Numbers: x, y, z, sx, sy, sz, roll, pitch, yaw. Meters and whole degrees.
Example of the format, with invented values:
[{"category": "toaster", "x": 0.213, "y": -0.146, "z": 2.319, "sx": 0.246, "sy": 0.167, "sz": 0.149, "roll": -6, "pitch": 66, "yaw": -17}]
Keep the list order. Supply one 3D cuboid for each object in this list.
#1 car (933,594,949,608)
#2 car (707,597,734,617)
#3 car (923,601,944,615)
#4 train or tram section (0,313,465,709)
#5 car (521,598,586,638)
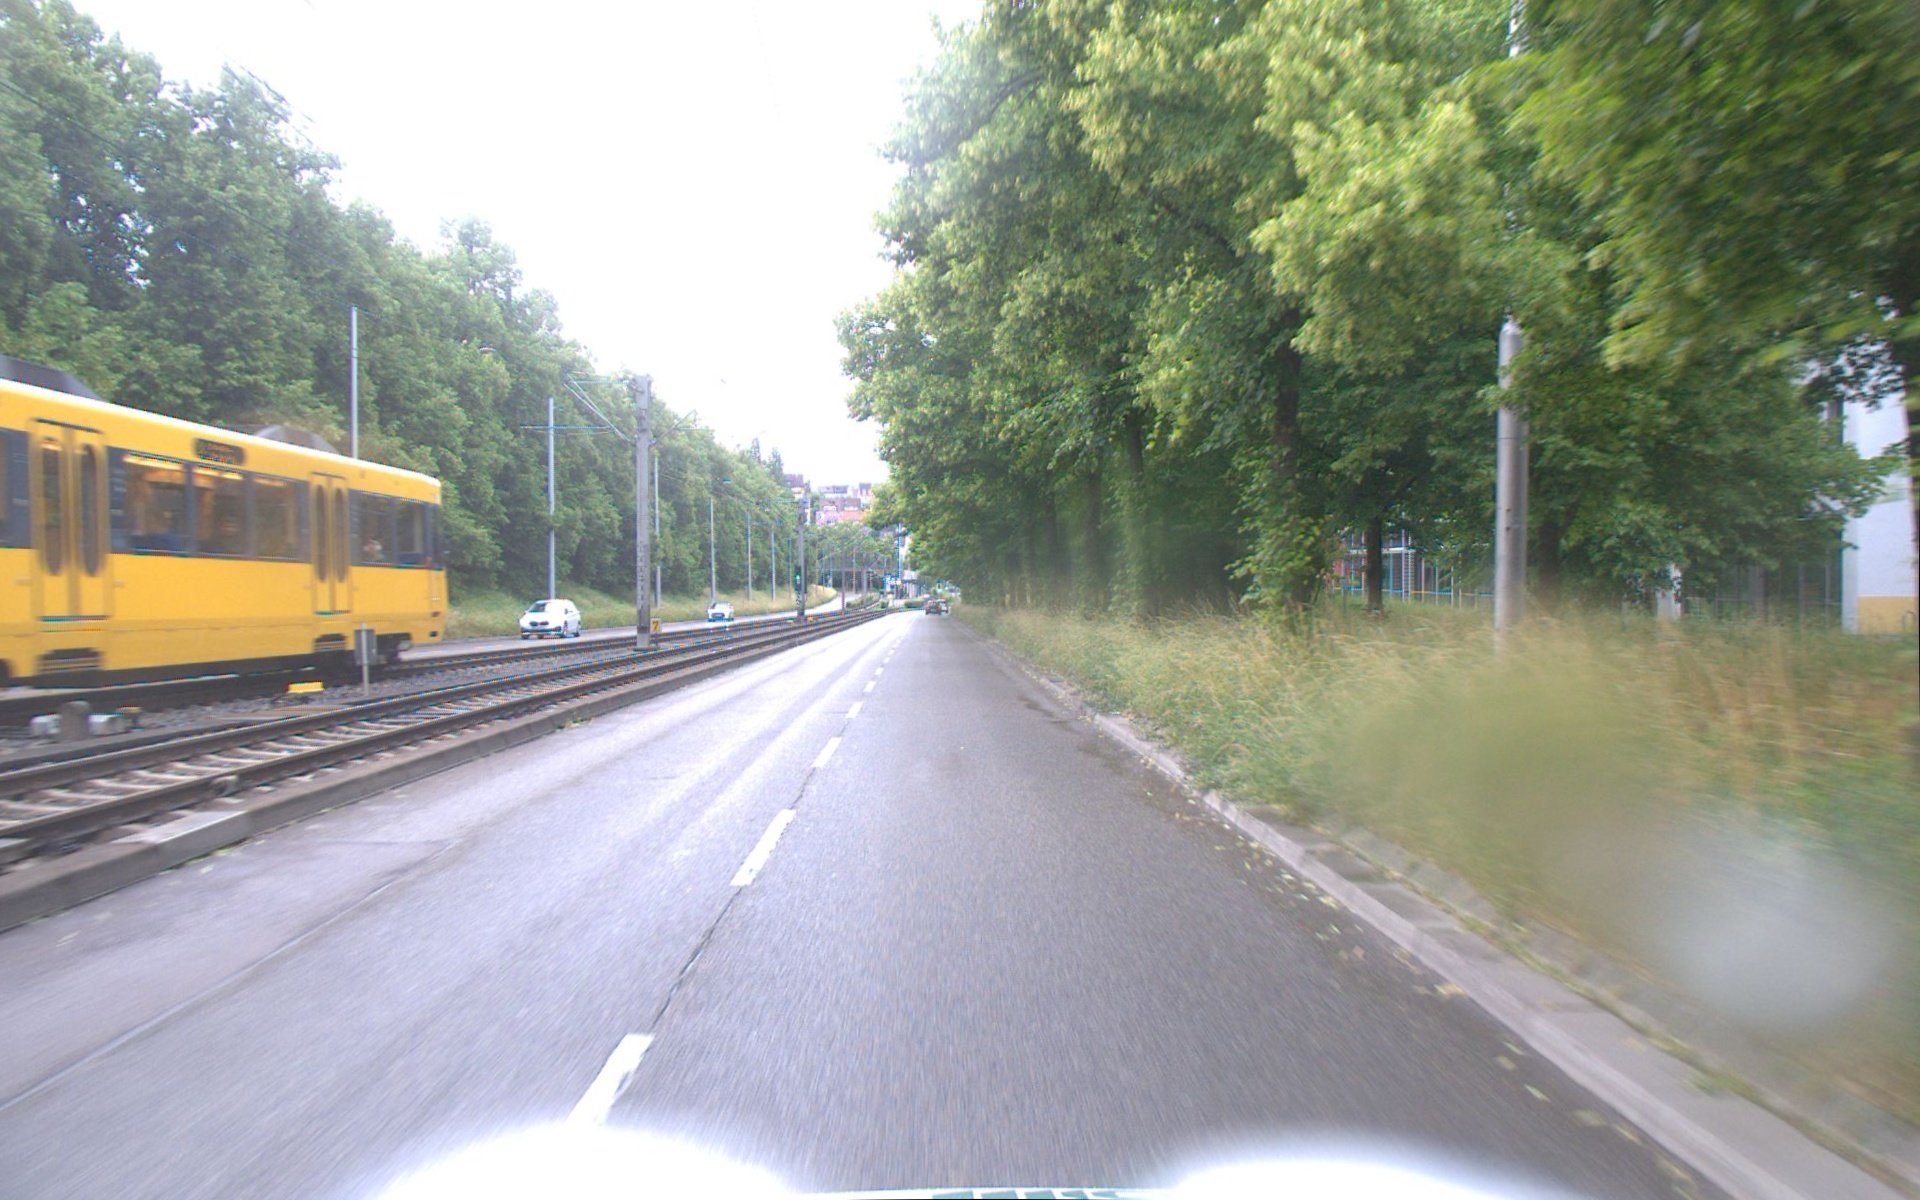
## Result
[{"category": "car", "x": -2.300, "y": 0.115, "z": 202.763, "sx": 1.953, "sy": 1.680, "sz": 4.000, "roll": 0, "pitch": 0, "yaw": -1}, {"category": "car", "x": -18.237, "y": 0.539, "z": 125.983, "sx": 1.446, "sy": 1.461, "sz": 3.908, "roll": -2, "pitch": 0, "yaw": -1}, {"category": "car", "x": -2.890, "y": 0.854, "z": 179.389, "sx": 2.149, "sy": 1.352, "sz": 3.999, "roll": 1, "pitch": 1, "yaw": -1}, {"category": "train or tram section", "x": -10.802, "y": -0.933, "z": 21.199, "sx": 2.906, "sy": 3.877, "sz": 19.521, "roll": 0, "pitch": 1, "yaw": 0}, {"category": "car", "x": -16.737, "y": 0.715, "z": 68.281, "sx": 1.619, "sy": 1.556, "sz": 4.380, "roll": 0, "pitch": 0, "yaw": 0}]
